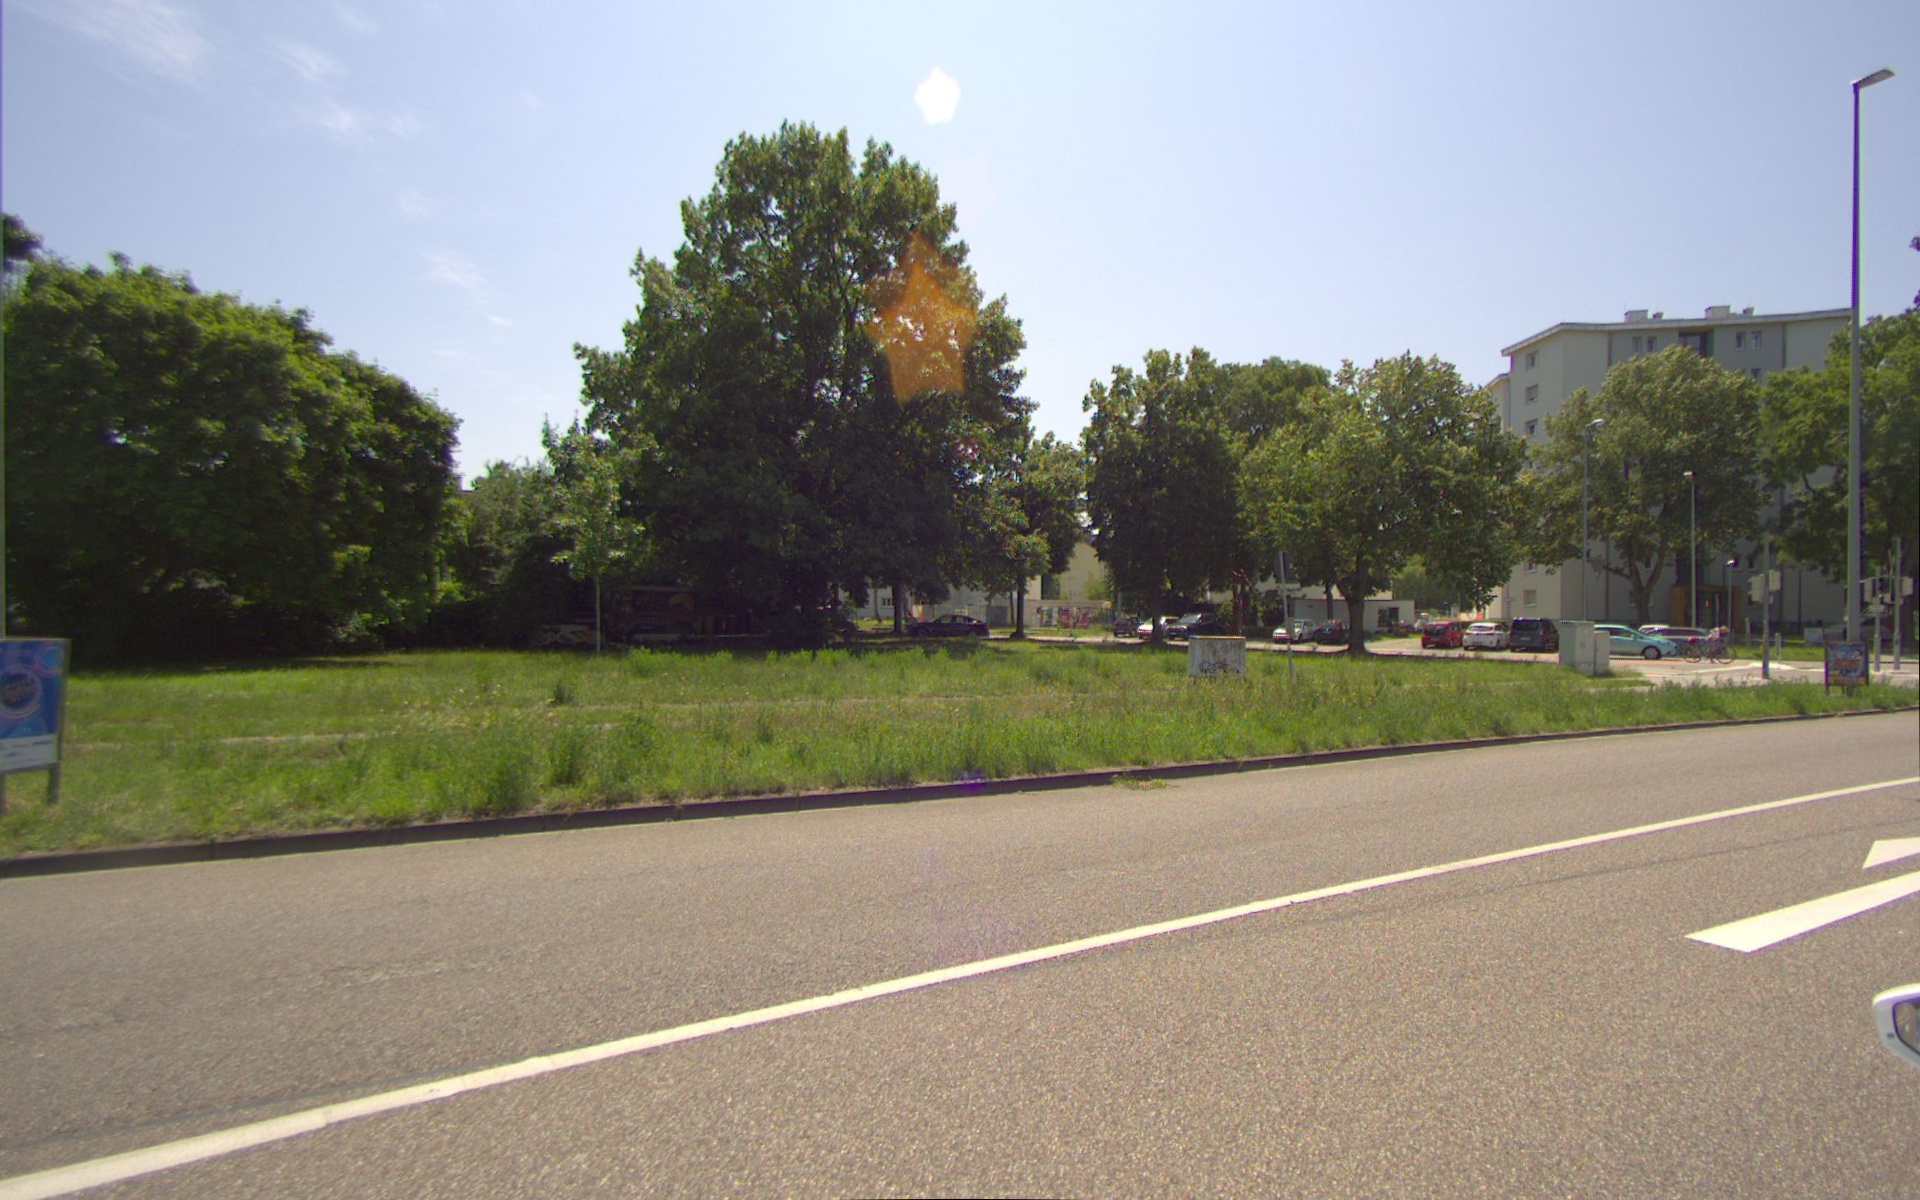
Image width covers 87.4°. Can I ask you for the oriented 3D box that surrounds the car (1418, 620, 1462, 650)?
[{"bbox_3d":[28.252,2.026,59.084,1.821,1.690,3.989,0,-1,34],"label":"car"}]

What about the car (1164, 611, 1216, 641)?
[{"bbox_3d":[15.883,1.734,69.193,1.825,1.974,3.979,1,1,41],"label":"car"}]

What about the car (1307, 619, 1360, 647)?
[{"bbox_3d":[23.697,2.097,63.656,1.825,1.734,3.979,-2,-2,41],"label":"car"}]

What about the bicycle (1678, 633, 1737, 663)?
[{"bbox_3d":[29.811,1.915,40.093,1.843,1.108,0.643,0,-1,42],"label":"bicycle"}]

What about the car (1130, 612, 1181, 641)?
[{"bbox_3d":[13.960,1.847,71.578,1.825,1.974,3.979,1,1,41],"label":"car"}]

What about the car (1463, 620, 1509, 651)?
[{"bbox_3d":[29.978,1.988,57.177,1.683,1.613,3.984,1,0,37],"label":"car"}]

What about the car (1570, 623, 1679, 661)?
[{"bbox_3d":[29.140,1.807,44.086,3.839,1.488,1.767,0,-1,40],"label":"car"}]

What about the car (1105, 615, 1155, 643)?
[{"bbox_3d":[12.572,2.092,74.107,1.825,1.974,3.979,1,1,41],"label":"car"}]

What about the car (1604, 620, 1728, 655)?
[{"bbox_3d":[33.400,1.749,47.581,1.900,1.519,4.569,1,-1,-44],"label":"car"}]

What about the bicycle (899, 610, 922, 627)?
[{"bbox_3d":[-3.770,1.401,76.608,0.766,1.317,2.039,1,-1,-37],"label":"bicycle"}]

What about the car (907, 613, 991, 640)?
[{"bbox_3d":[-0.629,1.469,56.281,4.500,1.487,1.997,0,0,-8],"label":"car"}]

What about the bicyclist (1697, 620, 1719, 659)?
[{"bbox_3d":[29.849,1.563,40.063,0.656,1.557,0.628,0,0,42],"label":"bicyclist"}]

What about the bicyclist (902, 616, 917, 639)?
[{"bbox_3d":[-3.864,2.091,76.724,0.766,1.715,0.888,1,0,-38],"label":"bicyclist"}]

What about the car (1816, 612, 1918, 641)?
[{"bbox_3d":[57.717,1.663,63.998,4.457,1.791,1.792,0,0,14],"label":"car"}]

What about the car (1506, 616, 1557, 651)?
[{"bbox_3d":[31.652,1.809,55.583,1.685,1.825,3.979,1,1,41],"label":"car"}]

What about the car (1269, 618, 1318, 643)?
[{"bbox_3d":[21.560,1.934,64.883,1.669,1.583,3.817,0,-1,42],"label":"car"}]
